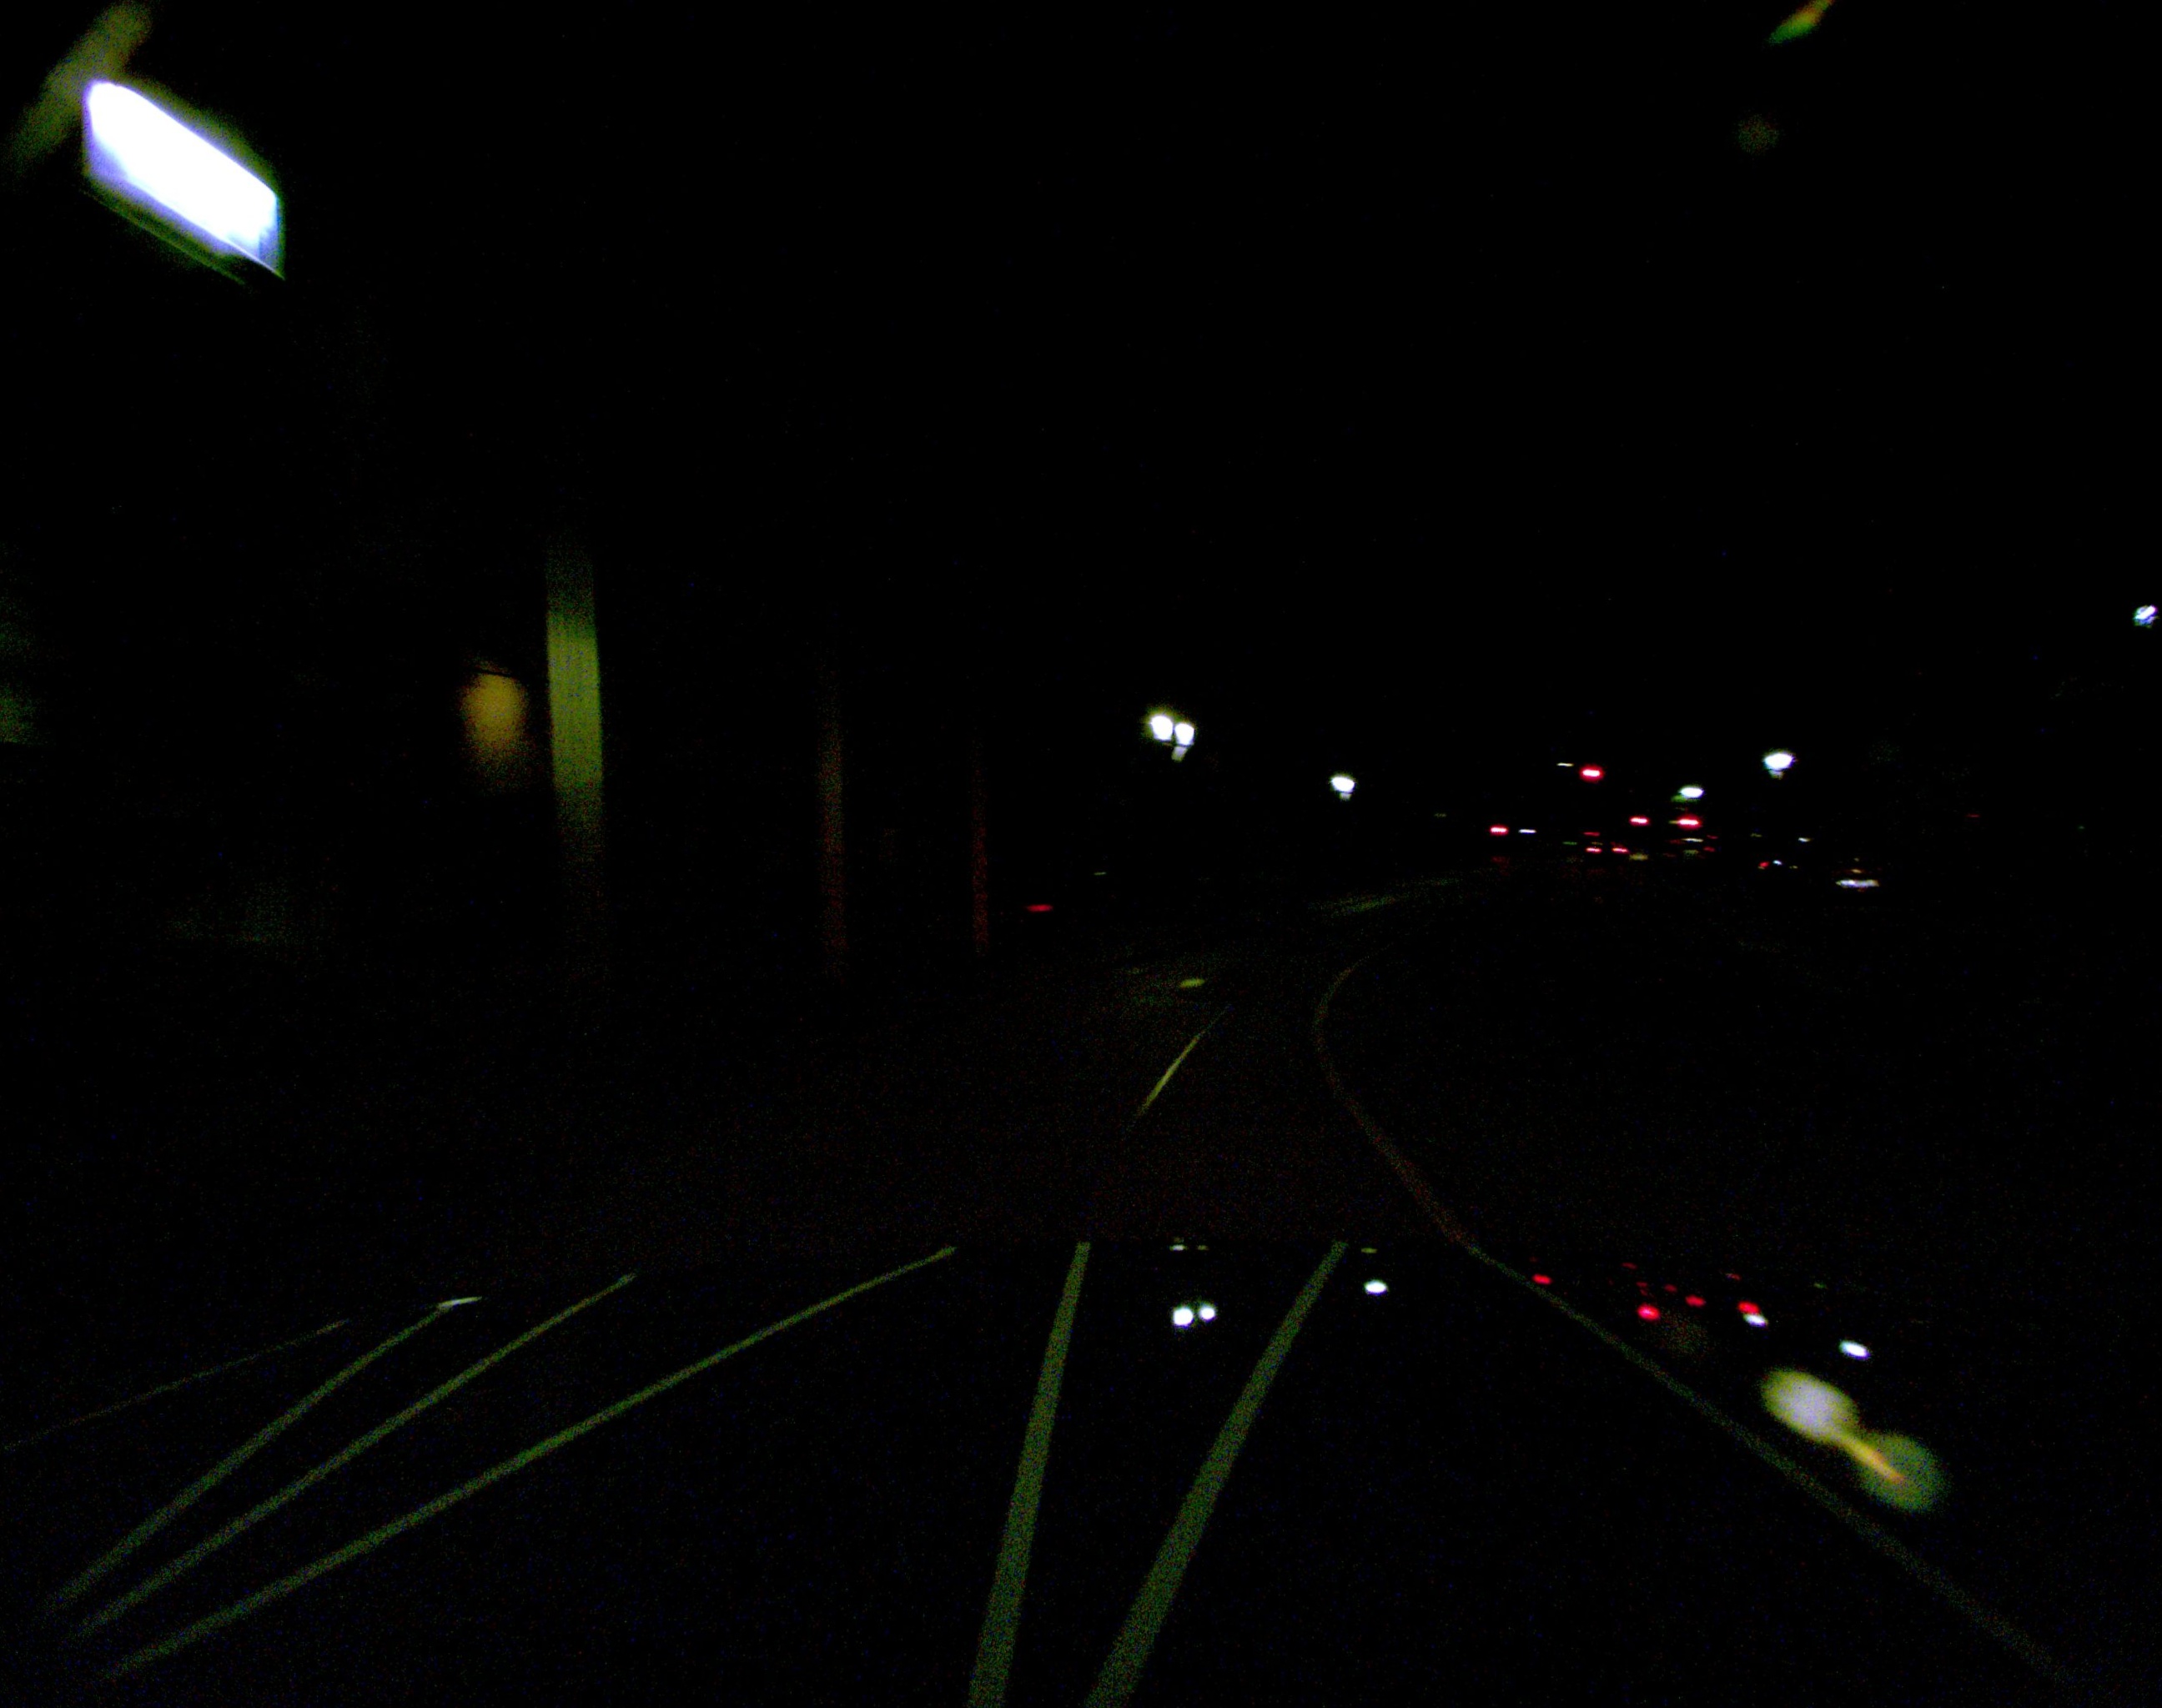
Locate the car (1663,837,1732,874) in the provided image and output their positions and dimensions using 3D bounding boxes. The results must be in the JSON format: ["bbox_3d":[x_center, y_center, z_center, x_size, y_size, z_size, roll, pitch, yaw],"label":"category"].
[{"bbox_3d":[27.725,0.051,34.302,1.786,1.482,4.007,-5,-2,31],"label":"car"}]

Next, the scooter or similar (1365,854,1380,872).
[{"bbox_3d":[19.070,0.598,49.728,0.422,1.124,1.496,-1,1,40],"label":"scooter or similar"}]

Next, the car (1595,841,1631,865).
[{"bbox_3d":[33.469,-0.087,47.891,1.716,1.421,4.008,0,1,33],"label":"car"}]

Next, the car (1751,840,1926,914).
[{"bbox_3d":[16.626,0.444,16.939,1.786,1.407,4.134,-3,-1,31],"label":"car"}]

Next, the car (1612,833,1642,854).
[{"bbox_3d":[46.585,-0.898,64.871,1.887,1.587,4.031,-3,-1,34],"label":"car"}]

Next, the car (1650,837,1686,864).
[{"bbox_3d":[35.953,-0.255,46.548,1.594,1.482,3.706,-5,-2,37],"label":"car"}]

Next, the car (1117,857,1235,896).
[{"bbox_3d":[3.802,0.867,30.725,4.429,1.451,1.793,-1,0,38],"label":"car"}]

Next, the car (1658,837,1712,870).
[{"bbox_3d":[30.966,-0.047,39.047,1.786,1.482,4.338,-5,-2,35],"label":"car"}]

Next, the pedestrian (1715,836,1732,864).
[{"bbox_3d":[38.977,-0.262,46.084,0.710,1.680,1.126,-1,1,43],"label":"pedestrian"}]

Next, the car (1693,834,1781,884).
[{"bbox_3d":[23.515,0.138,27.390,1.786,1.572,4.420,-5,-2,34],"label":"car"}]

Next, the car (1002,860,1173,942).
[{"bbox_3d":[0.332,0.936,16.931,1.735,1.451,4.736,-2,0,29],"label":"car"}]
